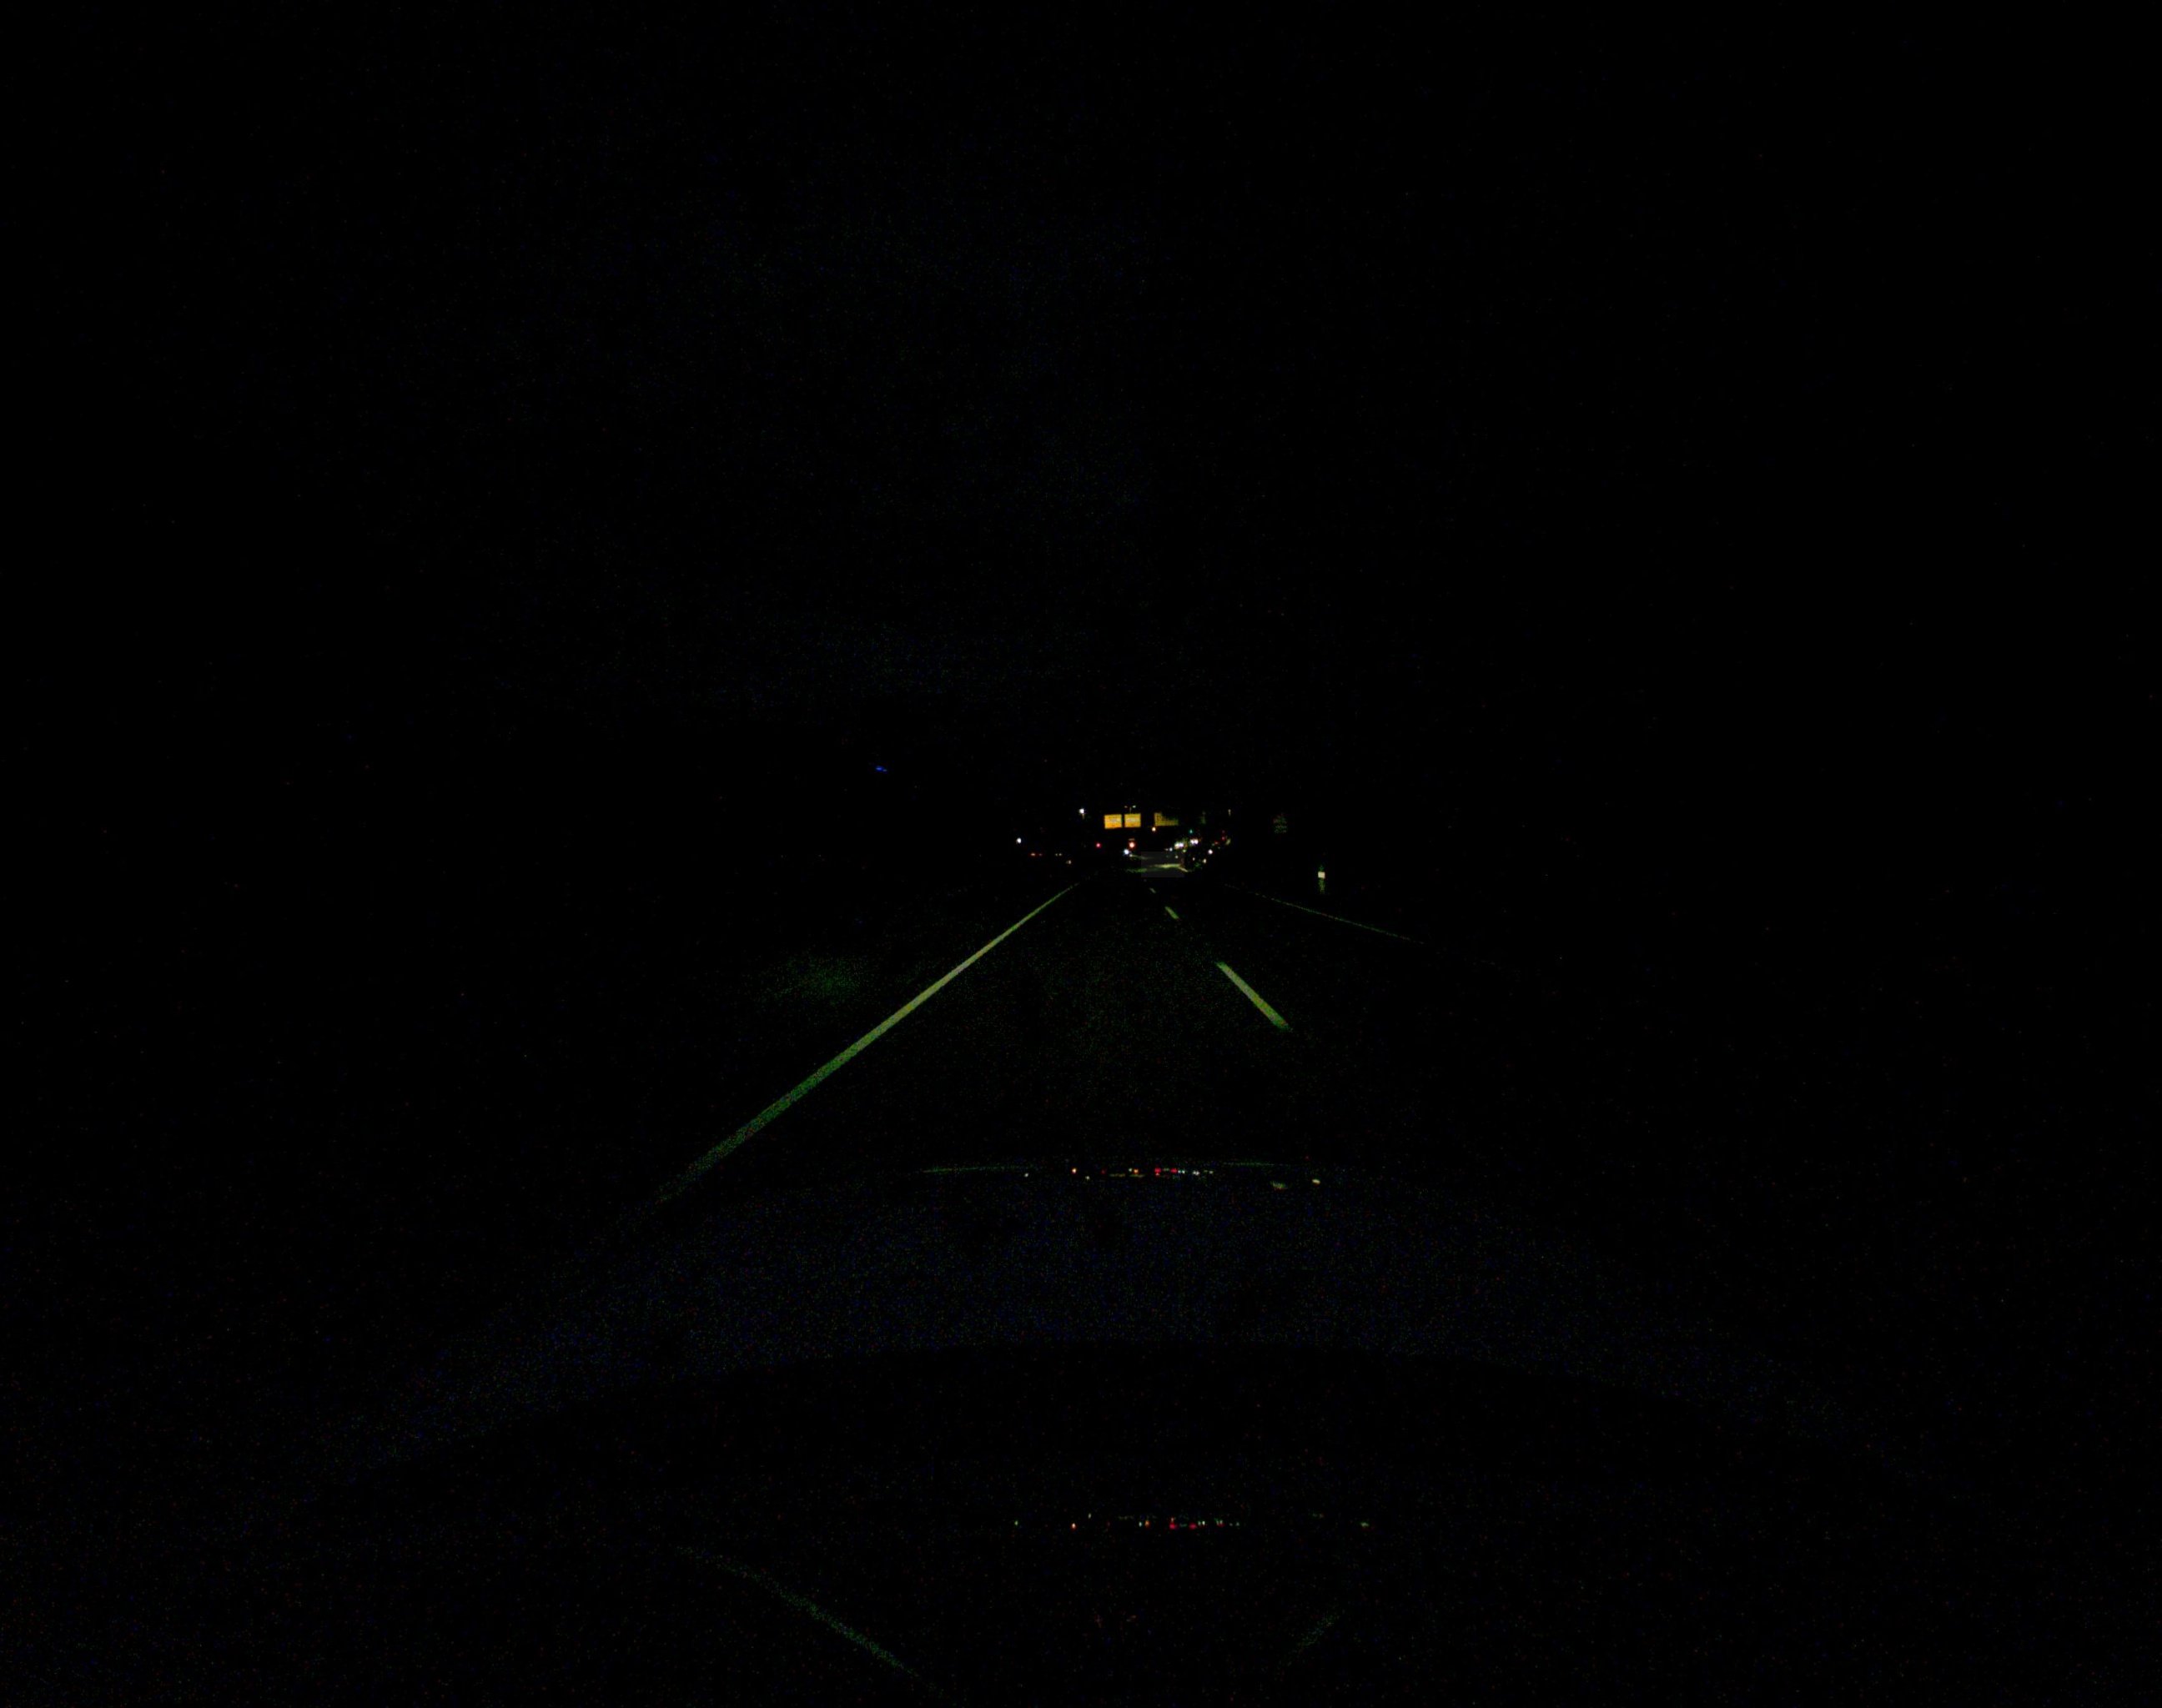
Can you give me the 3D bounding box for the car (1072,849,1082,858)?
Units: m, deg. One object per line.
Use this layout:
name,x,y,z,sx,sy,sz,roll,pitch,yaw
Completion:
car,-0.826,-0.078,163.916,1.694,1.623,4.309,-1,0,2

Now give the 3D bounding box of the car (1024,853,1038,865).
car,-7.299,0.702,118.430,1.765,1.641,4.659,-2,0,-1

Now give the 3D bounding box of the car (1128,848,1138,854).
car,14.094,-0.771,220.825,1.980,1.425,4.548,-1,1,12

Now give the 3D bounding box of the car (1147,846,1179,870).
car,5.794,0.301,58.101,2.000,1.611,3.847,-1,0,2
